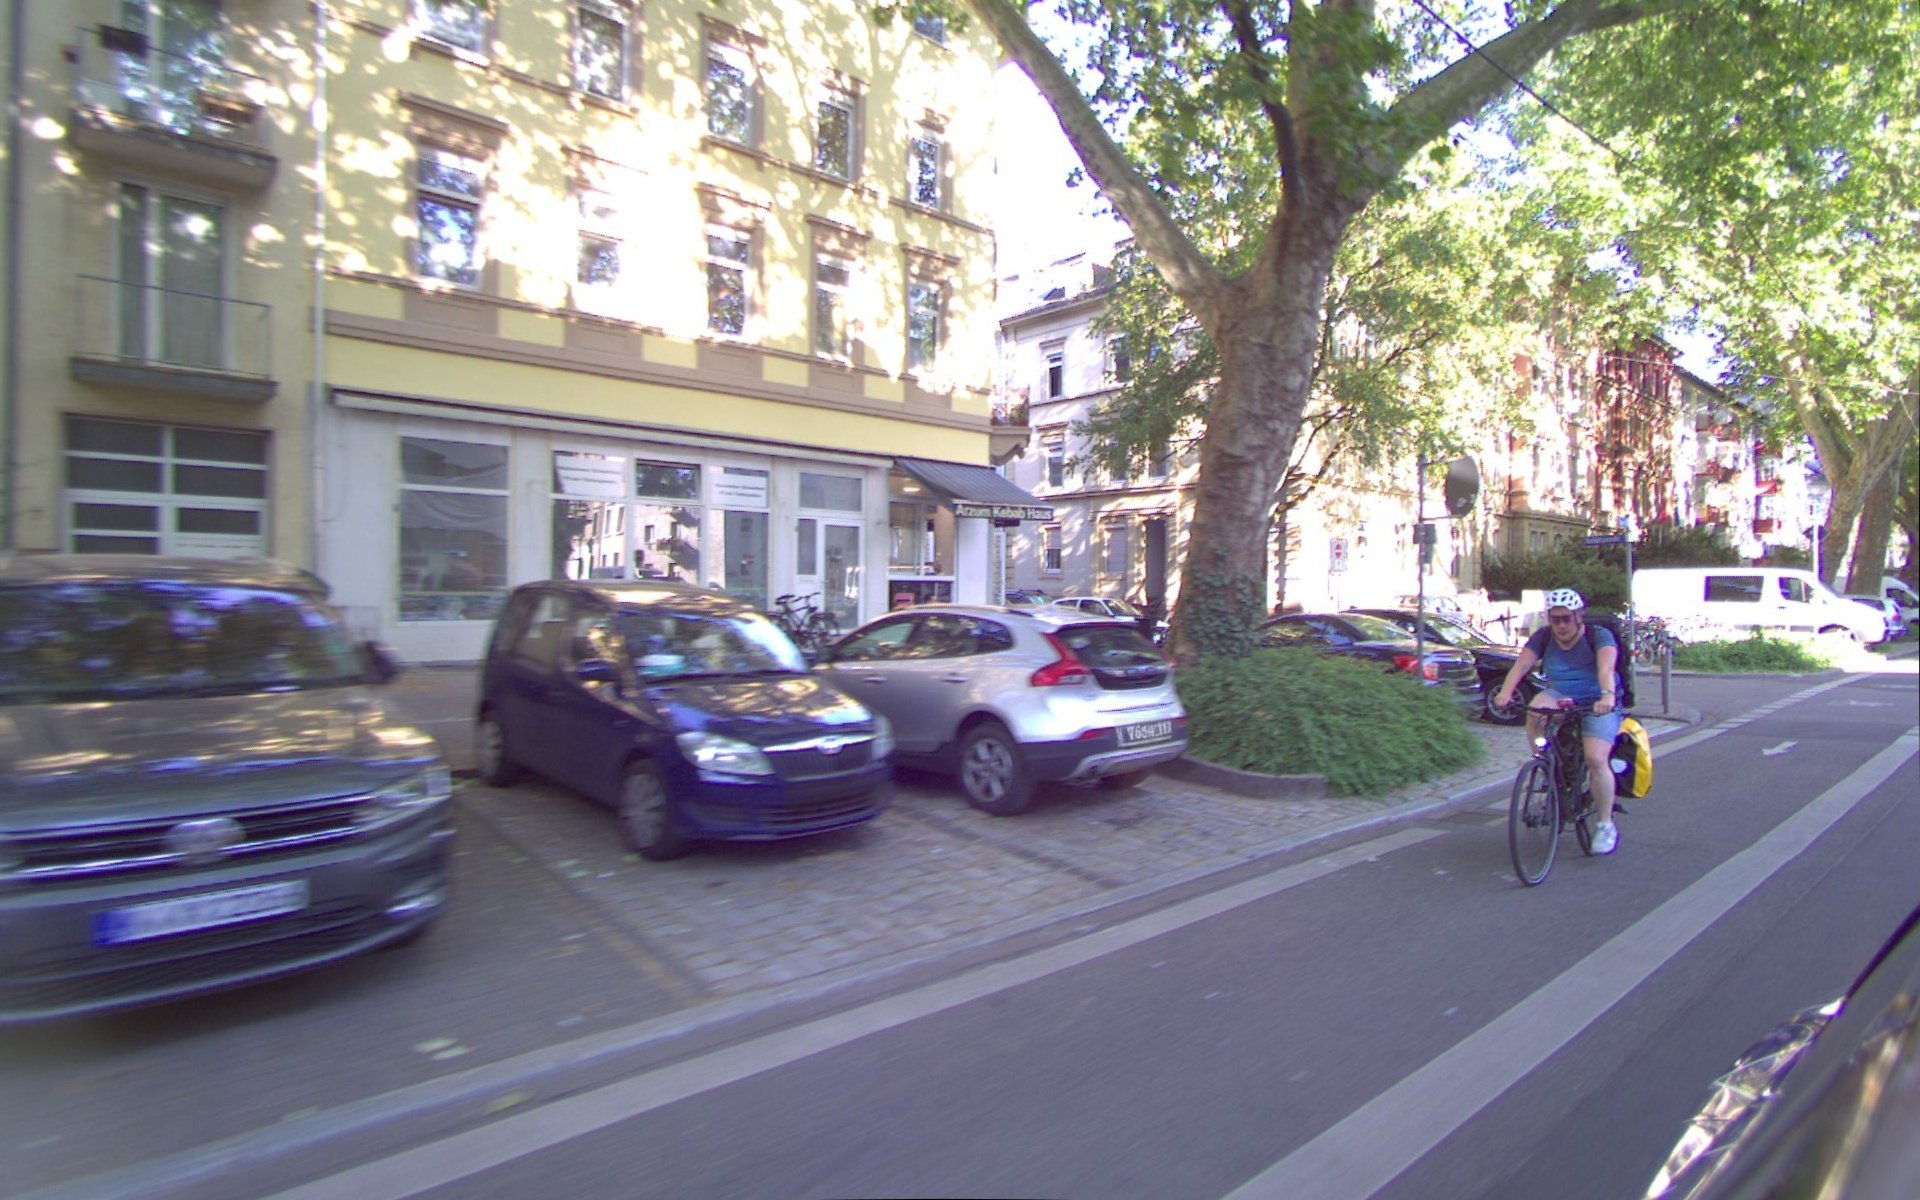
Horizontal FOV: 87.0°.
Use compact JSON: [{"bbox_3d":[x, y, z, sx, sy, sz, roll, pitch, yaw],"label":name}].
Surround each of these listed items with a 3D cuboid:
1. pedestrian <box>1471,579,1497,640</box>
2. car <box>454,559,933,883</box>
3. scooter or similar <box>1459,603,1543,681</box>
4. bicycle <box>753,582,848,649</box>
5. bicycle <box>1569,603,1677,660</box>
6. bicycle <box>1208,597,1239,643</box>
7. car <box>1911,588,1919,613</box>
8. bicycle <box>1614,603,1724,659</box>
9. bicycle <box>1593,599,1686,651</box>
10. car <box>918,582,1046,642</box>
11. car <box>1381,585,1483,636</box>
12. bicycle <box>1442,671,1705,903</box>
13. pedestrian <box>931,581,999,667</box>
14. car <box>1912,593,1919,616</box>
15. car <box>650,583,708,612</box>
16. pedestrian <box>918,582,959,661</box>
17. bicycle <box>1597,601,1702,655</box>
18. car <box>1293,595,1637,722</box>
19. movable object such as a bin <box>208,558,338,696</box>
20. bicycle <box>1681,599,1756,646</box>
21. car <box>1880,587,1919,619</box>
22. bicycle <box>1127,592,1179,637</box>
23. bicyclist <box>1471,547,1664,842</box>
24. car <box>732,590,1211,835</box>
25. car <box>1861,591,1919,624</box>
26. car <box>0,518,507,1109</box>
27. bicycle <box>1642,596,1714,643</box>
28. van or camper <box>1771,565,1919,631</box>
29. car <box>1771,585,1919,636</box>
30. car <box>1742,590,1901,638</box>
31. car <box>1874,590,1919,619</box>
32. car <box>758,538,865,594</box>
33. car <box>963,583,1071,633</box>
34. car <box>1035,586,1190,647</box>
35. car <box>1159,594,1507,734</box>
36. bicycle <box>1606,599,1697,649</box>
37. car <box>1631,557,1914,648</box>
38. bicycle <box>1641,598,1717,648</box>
[{"bbox_3d":[14.749,0.253,28.503,0.587,1.672,0.703,0,0,24],"label":"pedestrian"},{"bbox_3d":[-2.134,0.559,7.258,1.653,1.664,4.034,0,2,-42],"label":"car"},{"bbox_3d":[9.260,0.693,17.354,0.334,1.271,1.313,0,0,-27],"label":"scooter or similar"},{"bbox_3d":[-2.918,0.281,18.625,1.715,1.170,0.470,1,2,-41],"label":"bicycle"},{"bbox_3d":[14.933,0.680,22.855,0.405,1.193,2.050,-1,1,-32],"label":"bicycle"},{"bbox_3d":[7.963,0.592,30.552,0.503,1.271,1.890,0,2,28],"label":"bicycle"},{"bbox_3d":[60.898,0.093,61.935,3.824,1.462,1.674,3,0,42],"label":"car"},{"bbox_3d":[16.151,0.672,23.116,0.405,1.193,2.050,-1,1,-32],"label":"bicycle"},{"bbox_3d":[16.649,0.582,24.868,0.404,1.193,2.053,-1,1,-20],"label":"bicycle"},{"bbox_3d":[0.594,0.336,29.691,1.662,1.637,3.683,3,-1,-41],"label":"car"},{"bbox_3d":[14.571,0.305,31.197,3.512,1.474,1.733,0,0,-44],"label":"car"},{"bbox_3d":[3.756,1.002,6.078,2.467,1.017,0.596,0,-2,-41],"label":"bicycle"},{"bbox_3d":[0.079,0.385,16.592,1.034,1.392,0.487,0,0,-10],"label":"pedestrian"},{"bbox_3d":[63.025,0.346,63.786,1.877,1.500,4.206,0,2,-39],"label":"car"},{"bbox_3d":[-16.197,-0.180,58.283,1.820,1.549,3.867,-3,3,-38],"label":"car"},{"bbox_3d":[-0.371,0.365,17.484,0.673,1.345,0.487,0,0,-4],"label":"pedestrian"},{"bbox_3d":[16.227,0.627,23.882,0.405,1.193,2.050,-1,1,-32],"label":"bicycle"},{"bbox_3d":[7.049,0.701,14.569,1.795,1.510,4.113,0,1,-32],"label":"car"},{"bbox_3d":[-7.820,0.266,11.508,1.098,1.455,1.170,0,2,-40],"label":"movable object such as a bin"},{"bbox_3d":[20.679,0.601,27.645,0.405,1.193,2.050,-1,1,-4],"label":"bicycle"},{"bbox_3d":[54.567,0.182,56.935,1.773,1.767,4.001,0,1,-40],"label":"car"},{"bbox_3d":[6.258,0.463,32.795,1.974,1.333,0.522,-3,1,-42],"label":"bicycle"},{"bbox_3d":[3.575,0.520,5.951,0.919,1.573,0.615,0,-4,-41],"label":"bicyclist"},{"bbox_3d":[-0.096,0.708,8.551,4.029,1.498,1.654,2,2,44],"label":"car"},{"bbox_3d":[45.670,0.349,48.169,1.659,1.498,3.961,0,2,-41],"label":"car"},{"bbox_3d":[-3.868,0.505,4.875,1.818,1.740,4.269,0,3,-42],"label":"car"},{"bbox_3d":[19.716,0.515,27.835,0.405,1.193,2.050,-1,1,-4],"label":"bicycle"},{"bbox_3d":[36.657,-0.123,40.707,2.071,2.522,6.043,0,1,-41],"label":"van or camper"},{"bbox_3d":[31.858,0.315,36.442,1.766,1.676,3.959,-1,2,-43],"label":"car"},{"bbox_3d":[29.714,0.437,34.977,1.765,1.497,3.962,0,1,-41],"label":"car"},{"bbox_3d":[52.652,0.251,55.487,1.632,1.514,3.614,0,1,-42],"label":"car"},{"bbox_3d":[-5.040,-1.094,33.914,1.624,1.679,4.140,3,-1,-39],"label":"car"},{"bbox_3d":[2.020,0.246,37.121,1.819,1.618,3.999,-3,3,-36],"label":"car"},{"bbox_3d":[3.844,0.393,25.890,1.663,1.430,3.679,3,-1,-44],"label":"car"},{"bbox_3d":[4.715,0.697,13.353,1.649,1.510,4.110,0,1,-35],"label":"car"},{"bbox_3d":[17.608,0.585,25.821,0.404,1.193,2.053,-1,1,-20],"label":"bicycle"},{"bbox_3d":[22.888,0.021,28.820,1.970,2.311,6.006,1,0,-39],"label":"car"},{"bbox_3d":[18.656,0.570,26.299,0.405,1.193,2.050,-1,1,-4],"label":"bicycle"}]
